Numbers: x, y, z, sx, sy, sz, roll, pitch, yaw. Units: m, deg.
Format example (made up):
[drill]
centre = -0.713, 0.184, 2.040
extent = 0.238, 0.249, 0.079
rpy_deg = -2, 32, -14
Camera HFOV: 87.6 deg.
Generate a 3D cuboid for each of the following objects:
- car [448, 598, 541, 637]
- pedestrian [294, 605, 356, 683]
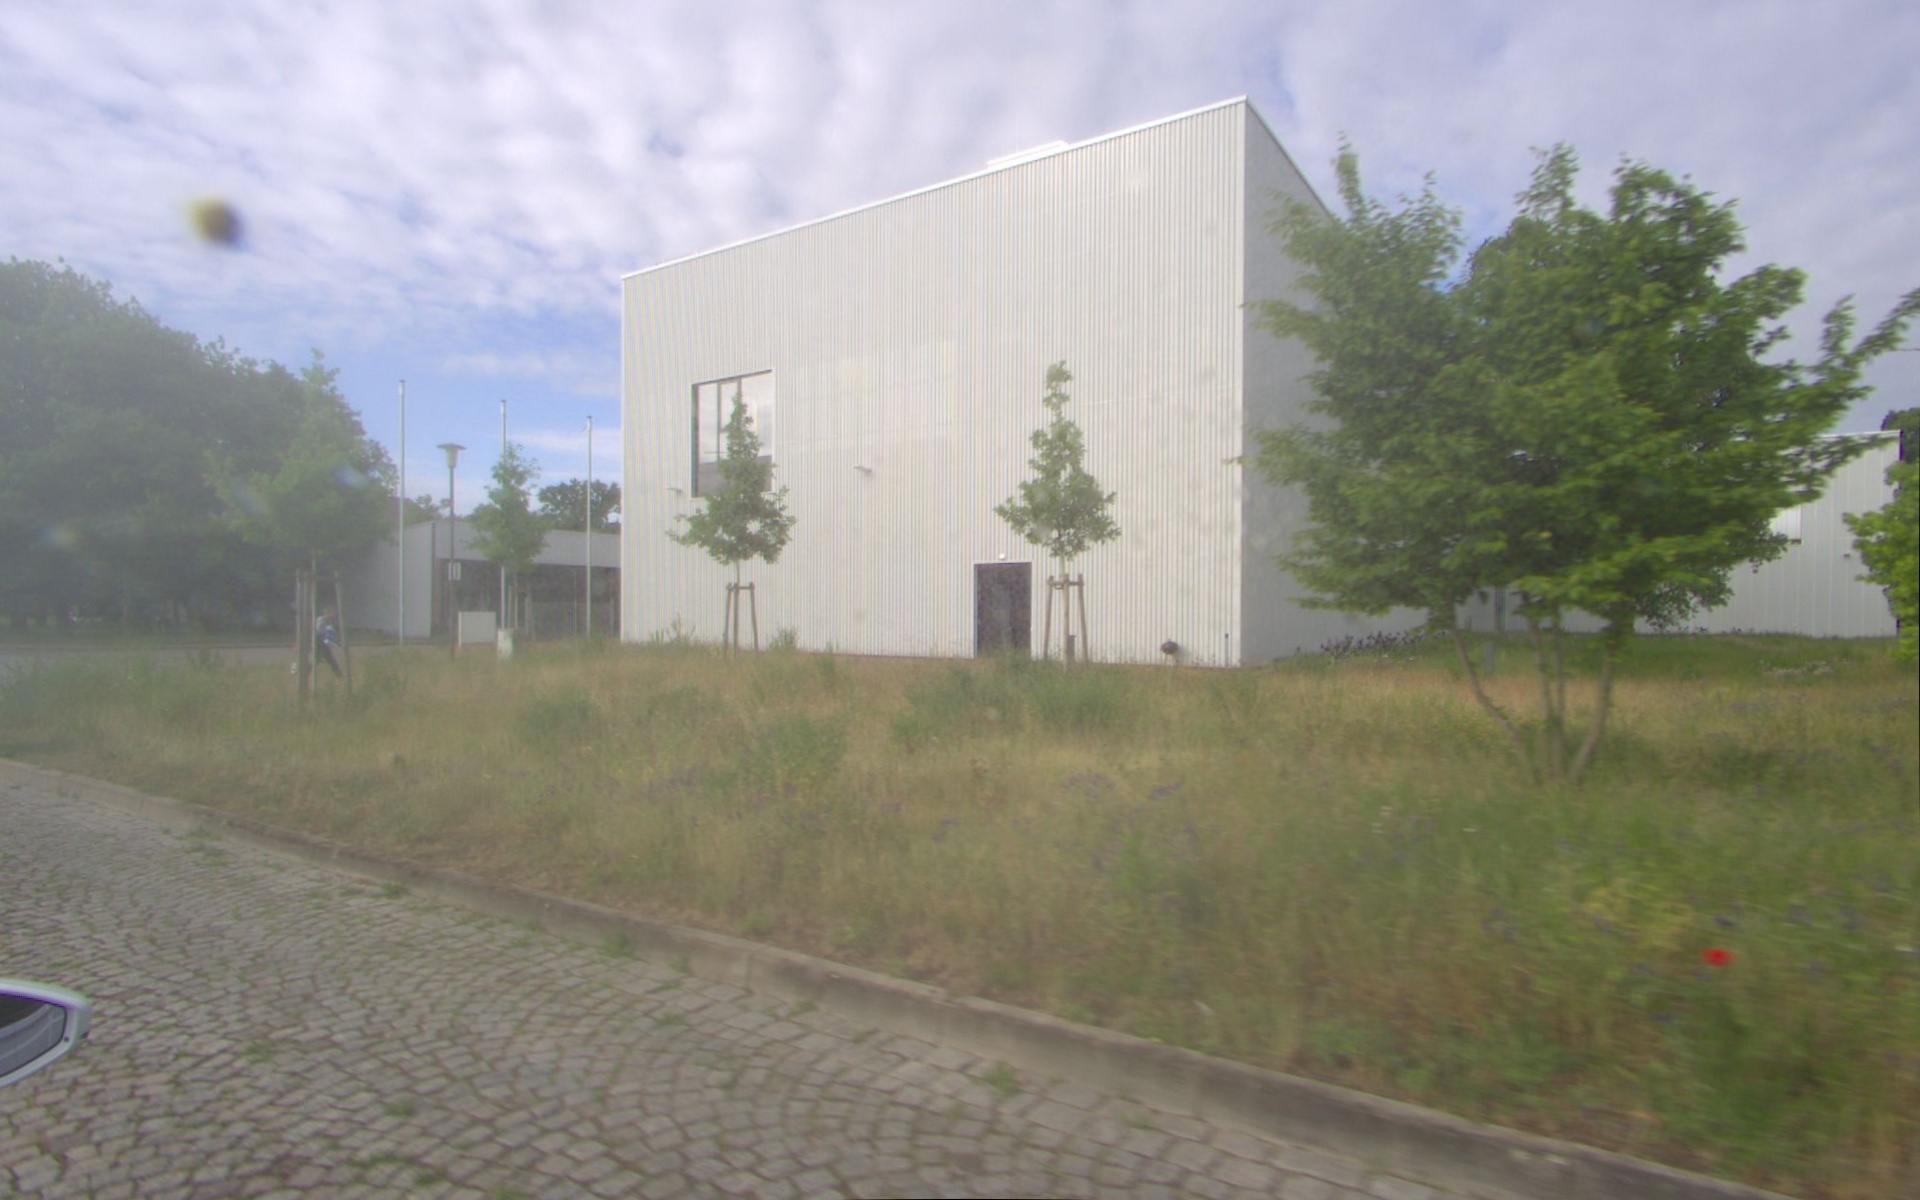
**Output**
[car]
centre = -25.407, 0.916, 54.606
extent = 5.262, 2.040, 2.236
rpy_deg = 0, -1, 34
[pedestrian]
centre = -13.172, 0.895, 20.803
extent = 1.064, 1.577, 1.069
rpy_deg = 0, 0, -32
